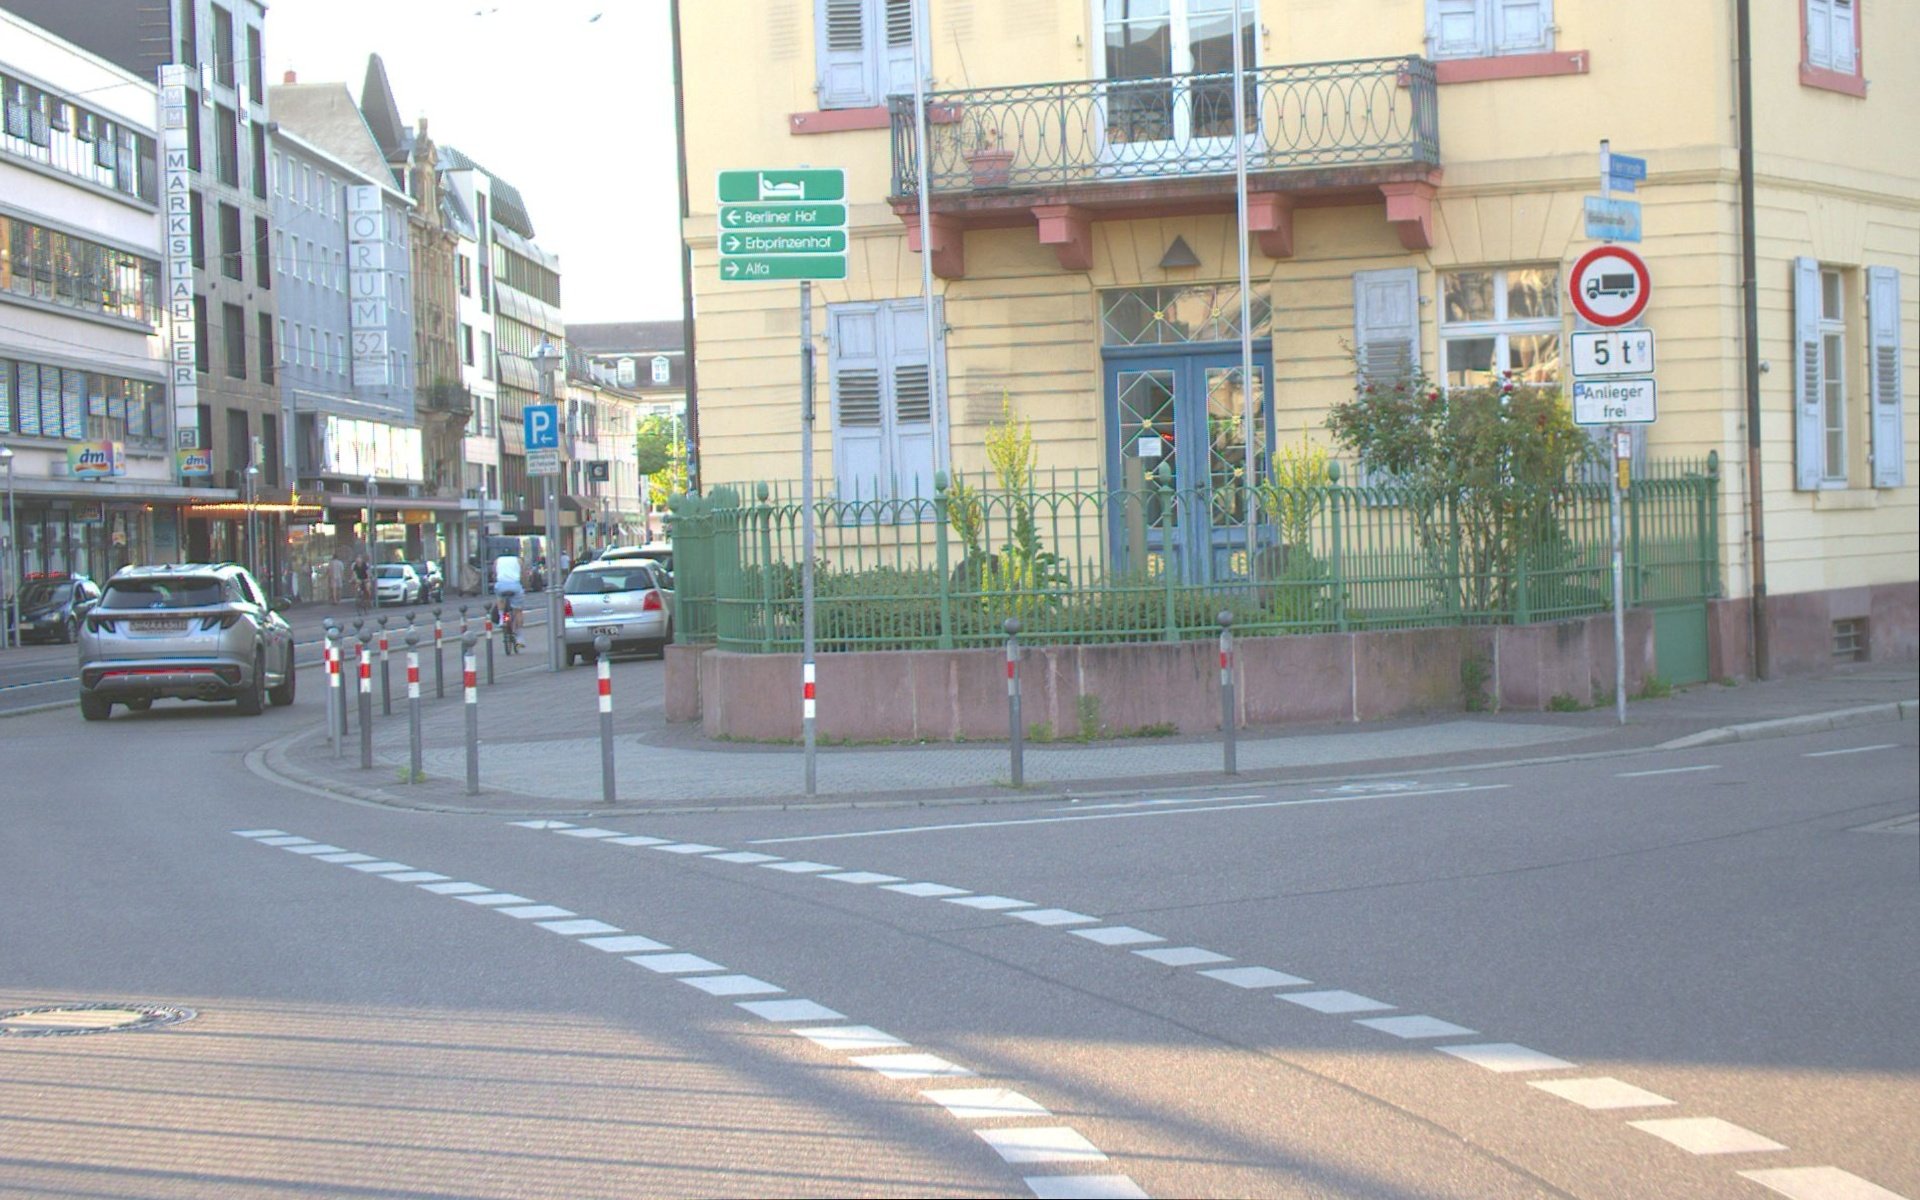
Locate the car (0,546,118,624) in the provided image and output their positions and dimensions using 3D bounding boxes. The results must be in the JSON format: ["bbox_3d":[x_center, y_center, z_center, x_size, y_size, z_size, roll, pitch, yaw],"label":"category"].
[{"bbox_3d":[-20.947,-0.354,78.824,1.994,1.660,4.000,-2,1,5],"label":"car"}]

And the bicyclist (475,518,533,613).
[{"bbox_3d":[-7.662,-0.580,57.844,0.829,1.563,0.787,-2,1,0],"label":"bicyclist"}]

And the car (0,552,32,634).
[{"bbox_3d":[-20.633,-0.105,70.118,1.994,1.660,4.000,-2,1,5],"label":"car"}]

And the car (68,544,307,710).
[{"bbox_3d":[-8.409,0.237,37.771,1.943,1.655,4.537,-1,1,-5],"label":"car"}]

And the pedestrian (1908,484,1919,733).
[{"bbox_3d":[7.168,0.045,23.817,0.878,1.718,0.827,0,2,40],"label":"pedestrian"}]

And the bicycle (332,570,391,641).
[{"bbox_3d":[-18.040,0.150,103.697,1.180,2.007,3.342,-2,1,-1],"label":"bicycle"}]

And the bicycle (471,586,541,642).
[{"bbox_3d":[-7.624,0.223,57.843,0.829,0.867,2.550,-2,1,0],"label":"bicycle"}]

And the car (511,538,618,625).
[{"bbox_3d":[-8.657,-0.433,75.588,1.808,1.802,4.000,-2,1,0],"label":"car"}]

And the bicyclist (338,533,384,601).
[{"bbox_3d":[-18.077,-1.009,103.738,1.166,2.007,1.045,-2,1,-1],"label":"bicyclist"}]

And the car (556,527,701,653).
[{"bbox_3d":[-4.743,-0.176,49.539,1.732,1.702,3.439,-2,1,0],"label":"car"}]

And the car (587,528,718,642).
[{"bbox_3d":[-4.864,-0.264,54.786,1.732,1.702,3.806,-2,1,0],"label":"car"}]
